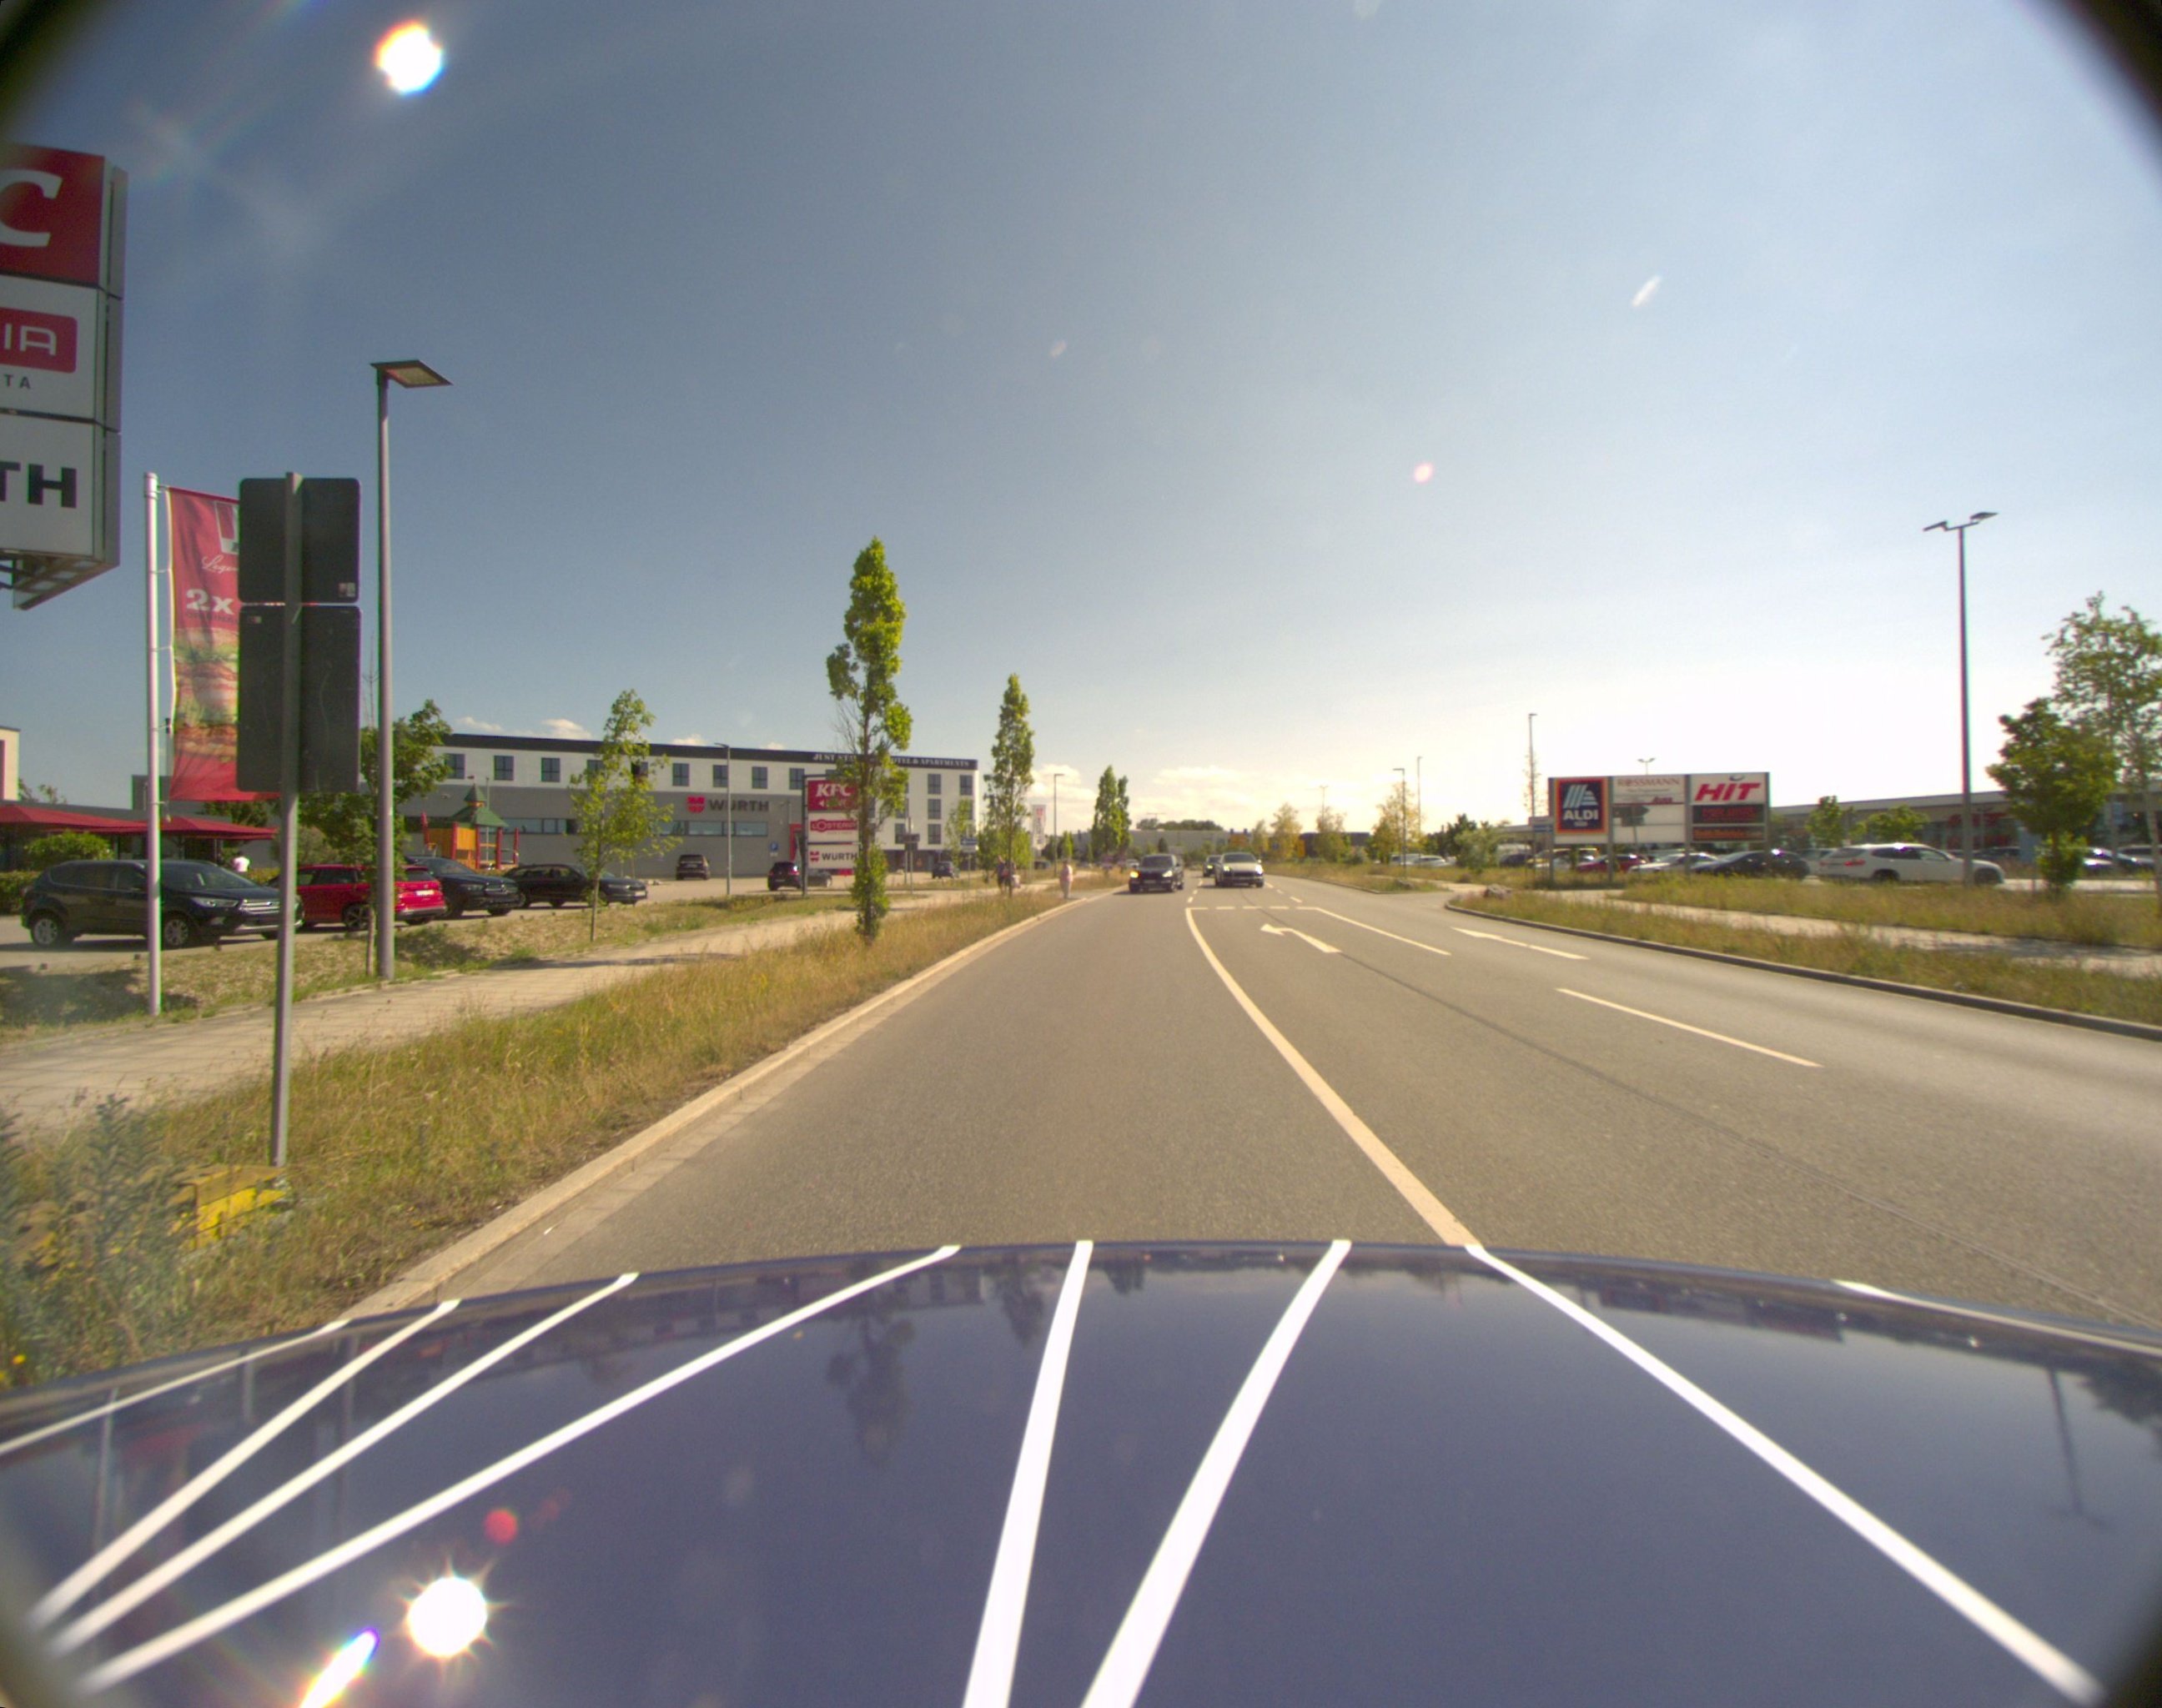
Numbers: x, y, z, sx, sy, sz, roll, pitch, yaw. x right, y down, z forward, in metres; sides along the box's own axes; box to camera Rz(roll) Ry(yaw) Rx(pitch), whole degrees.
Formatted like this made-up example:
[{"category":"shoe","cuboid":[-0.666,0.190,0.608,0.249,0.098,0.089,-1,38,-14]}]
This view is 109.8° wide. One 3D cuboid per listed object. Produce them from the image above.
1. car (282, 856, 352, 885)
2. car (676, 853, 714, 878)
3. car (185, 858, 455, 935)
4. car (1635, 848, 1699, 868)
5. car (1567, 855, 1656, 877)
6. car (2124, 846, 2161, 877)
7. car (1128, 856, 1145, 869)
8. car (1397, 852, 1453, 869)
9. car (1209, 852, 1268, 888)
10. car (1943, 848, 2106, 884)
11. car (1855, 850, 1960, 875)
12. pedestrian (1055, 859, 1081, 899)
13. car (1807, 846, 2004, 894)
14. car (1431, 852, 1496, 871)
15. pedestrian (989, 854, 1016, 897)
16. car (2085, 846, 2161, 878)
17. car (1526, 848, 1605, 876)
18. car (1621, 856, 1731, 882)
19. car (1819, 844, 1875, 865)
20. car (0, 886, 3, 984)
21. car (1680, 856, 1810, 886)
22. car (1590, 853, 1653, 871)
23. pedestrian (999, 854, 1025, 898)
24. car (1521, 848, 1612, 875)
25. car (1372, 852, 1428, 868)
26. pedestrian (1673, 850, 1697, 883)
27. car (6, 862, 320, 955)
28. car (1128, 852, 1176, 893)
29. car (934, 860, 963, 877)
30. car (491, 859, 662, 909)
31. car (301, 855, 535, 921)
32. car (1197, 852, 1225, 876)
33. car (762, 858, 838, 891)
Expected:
[{"category":"car","cuboid":[-48.448,1.010,48.268,1.704,1.747,4.101,-1,0,-23]},{"category":"car","cuboid":[-28.225,0.826,55.734,2.051,1.805,4.915,0,0,-22]},{"category":"car","cuboid":[-17.957,0.989,18.130,4.419,1.724,1.790,0,0,-5]},{"category":"car","cuboid":[51.958,0.339,67.488,1.717,1.730,4.580,0,0,-10]},{"category":"car","cuboid":[33.091,0.767,47.465,4.152,1.340,1.937,0,0,7]},{"category":"car","cuboid":[55.941,0.379,37.863,1.718,1.606,4.350,0,0,-13]},{"category":"car","cuboid":[6.686,1.005,92.477,1.786,1.485,4.000,-1,0,0]},{"category":"car","cuboid":[34.008,0.645,75.245,4.601,1.662,2.000,0,0,-1]},{"category":"car","cuboid":[7.677,0.823,37.520,2.114,1.633,4.780,-1,-2,3]},{"category":"car","cuboid":[42.668,0.537,34.525,1.718,1.507,4.350,0,0,-13]},{"category":"car","cuboid":[53.616,0.553,49.392,1.718,1.523,4.350,0,0,-13]},{"category":"pedestrian","cuboid":[-0.490,0.937,28.590,0.794,1.461,0.949,-1,0,8]},{"category":"car","cuboid":[27.548,0.531,25.529,4.220,1.538,1.919,-1,0,8]},{"category":"car","cuboid":[33.785,0.646,67.216,4.713,1.662,2.000,0,0,1]},{"category":"pedestrian","cuboid":[-3.037,0.813,29.349,0.810,1.619,0.866,-1,0,8]},{"category":"car","cuboid":[53.108,0.375,37.250,1.718,1.535,4.350,0,0,-13]},{"category":"car","cuboid":[33.334,0.569,52.345,4.152,1.850,1.933,0,0,6]},{"category":"car","cuboid":[31.251,0.777,40.035,4.152,1.340,1.937,0,0,7]},{"category":"car","cuboid":[67.318,0.028,66.774,4.358,1.797,1.715,0,0,-18]},{"category":"car","cuboid":[-18.172,1.164,10.450,4.416,1.440,1.792,0,0,3]},{"category":"car","cuboid":[30.482,0.776,35.002,4.152,1.340,1.937,0,0,7]},{"category":"car","cuboid":[46.675,0.695,65.715,1.718,1.517,4.349,0,0,-14]},{"category":"pedestrian","cuboid":[-2.592,0.811,28.620,0.802,1.620,0.805,-1,0,8]},{"category":"car","cuboid":[36.443,0.541,57.111,5.697,1.953,2.000,0,0,-2]},{"category":"car","cuboid":[33.673,0.635,80.237,5.196,1.662,1.999,0,0,-6]},{"category":"pedestrian","cuboid":[31.044,0.661,39.061,0.766,1.685,0.579,-1,0,8]},{"category":"car","cuboid":[-18.279,1.031,15.251,4.415,1.724,1.792,0,0,5]},{"category":"car","cuboid":[3.229,0.844,33.931,1.899,1.669,4.470,-1,-2,8]},{"category":"car","cuboid":[-10.909,1.163,62.752,1.517,1.399,4.001,0,0,2]},{"category":"car","cuboid":[-16.766,0.970,25.398,4.416,1.557,1.996,0,0,3]},{"category":"car","cuboid":[-18.549,0.927,21.415,4.993,1.724,1.940,0,0,3]},{"category":"car","cuboid":[9.596,0.724,56.330,1.755,1.677,4.384,0,0,6]},{"category":"car","cuboid":[-14.085,1.005,38.407,1.783,1.531,4.172,0,0,9]}]
